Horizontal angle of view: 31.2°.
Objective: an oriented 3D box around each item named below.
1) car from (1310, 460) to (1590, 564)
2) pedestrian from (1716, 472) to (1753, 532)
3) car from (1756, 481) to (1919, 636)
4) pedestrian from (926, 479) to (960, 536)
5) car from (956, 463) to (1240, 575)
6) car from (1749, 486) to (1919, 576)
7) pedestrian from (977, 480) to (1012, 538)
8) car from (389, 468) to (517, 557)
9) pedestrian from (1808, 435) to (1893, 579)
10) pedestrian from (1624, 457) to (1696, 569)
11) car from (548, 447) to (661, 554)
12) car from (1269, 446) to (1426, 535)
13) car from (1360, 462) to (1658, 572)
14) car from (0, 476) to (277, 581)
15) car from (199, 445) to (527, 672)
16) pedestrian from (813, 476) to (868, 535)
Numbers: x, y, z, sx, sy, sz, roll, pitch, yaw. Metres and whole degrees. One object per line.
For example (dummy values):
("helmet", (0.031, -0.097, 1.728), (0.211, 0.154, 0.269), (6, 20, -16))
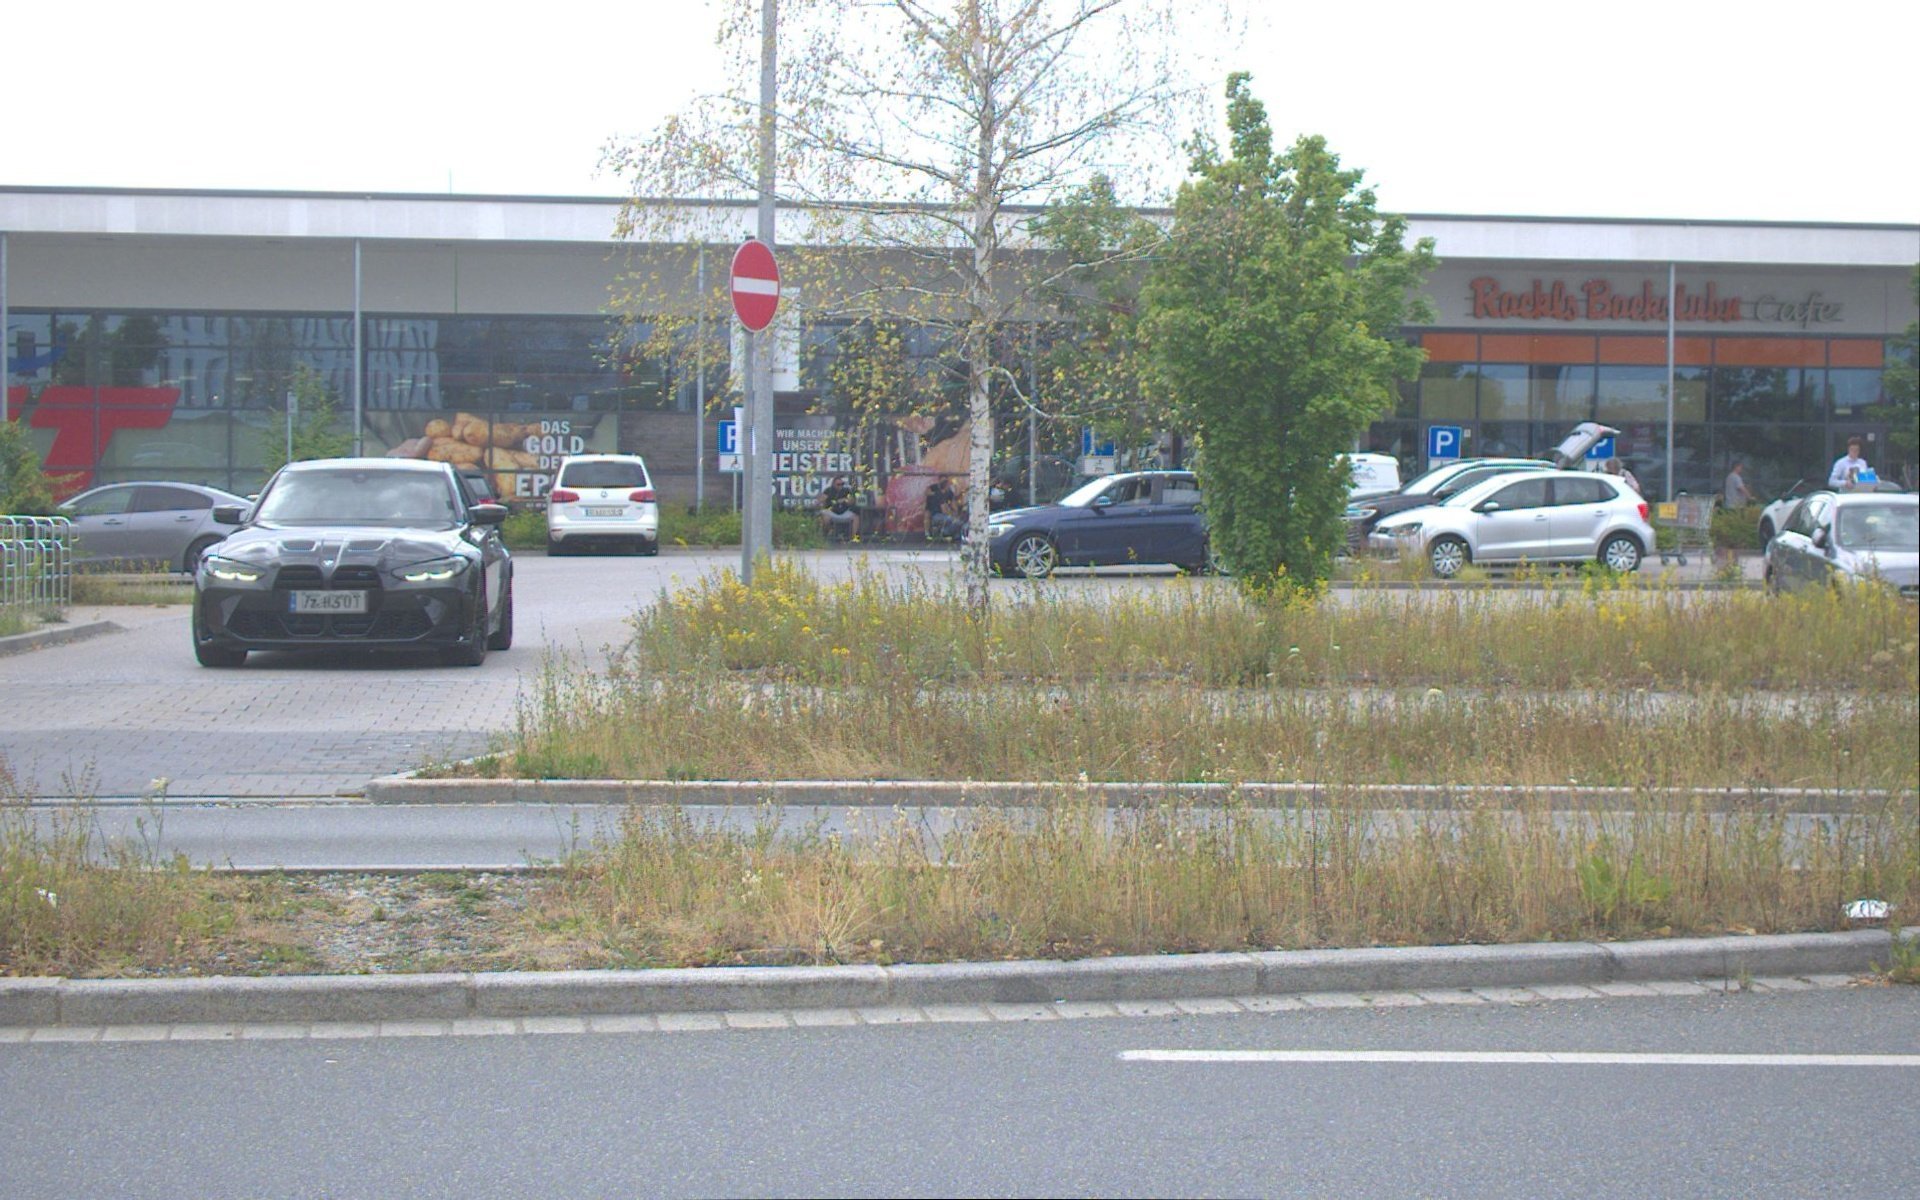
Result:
("car", (7.178, -1.297, 50.587), (3.746, 1.449, 1.668), (0, 3, -7))
("pedestrian", (15.594, -1.970, 69.227), (0.560, 1.197, 0.528), (0, 2, -7))
("car", (9.065, -0.427, 32.821), (1.988, 1.379, 4.150), (1, 2, 1))
("pedestrian", (-0.332, -1.840, 68.605), (0.576, 1.120, 0.562), (0, 2, -10))
("car", (1.853, -1.112, 46.737), (3.606, 1.449, 1.668), (0, 3, -8))
("car", (15.839, -1.268, 61.989), (1.993, 1.502, 4.001), (1, 3, -5))
("pedestrian", (0.677, -1.794, 67.835), (0.576, 1.120, 0.562), (0, 2, -10))
("car", (-8.653, -1.518, 58.888), (1.906, 1.439, 4.001), (0, 2, -5))
("pedestrian", (12.654, -1.331, 48.889), (0.865, 2.006, 1.004), (1, 3, -2))
("pedestrian", (10.322, -1.290, 50.704), (0.821, 1.626, 0.899), (1, 2, -2))
("car", (-6.075, -1.741, 59.053), (1.824, 1.694, 4.235), (0, 3, -5))
("car", (6.835, -1.966, 60.964), (1.993, 1.502, 4.001), (0, 3, -5))
("car", (7.592, -1.163, 47.738), (3.746, 1.449, 1.668), (0, 3, -7))
("car", (-11.487, -0.994, 47.362), (3.986, 1.347, 2.001), (1, 2, -9))
("car", (-4.115, -0.347, 24.336), (1.779, 1.440, 4.611), (1, 2, -4))
("pedestrian", (-2.403, -1.901, 68.920), (0.970, 1.150, 1.133), (0, 3, -9))
